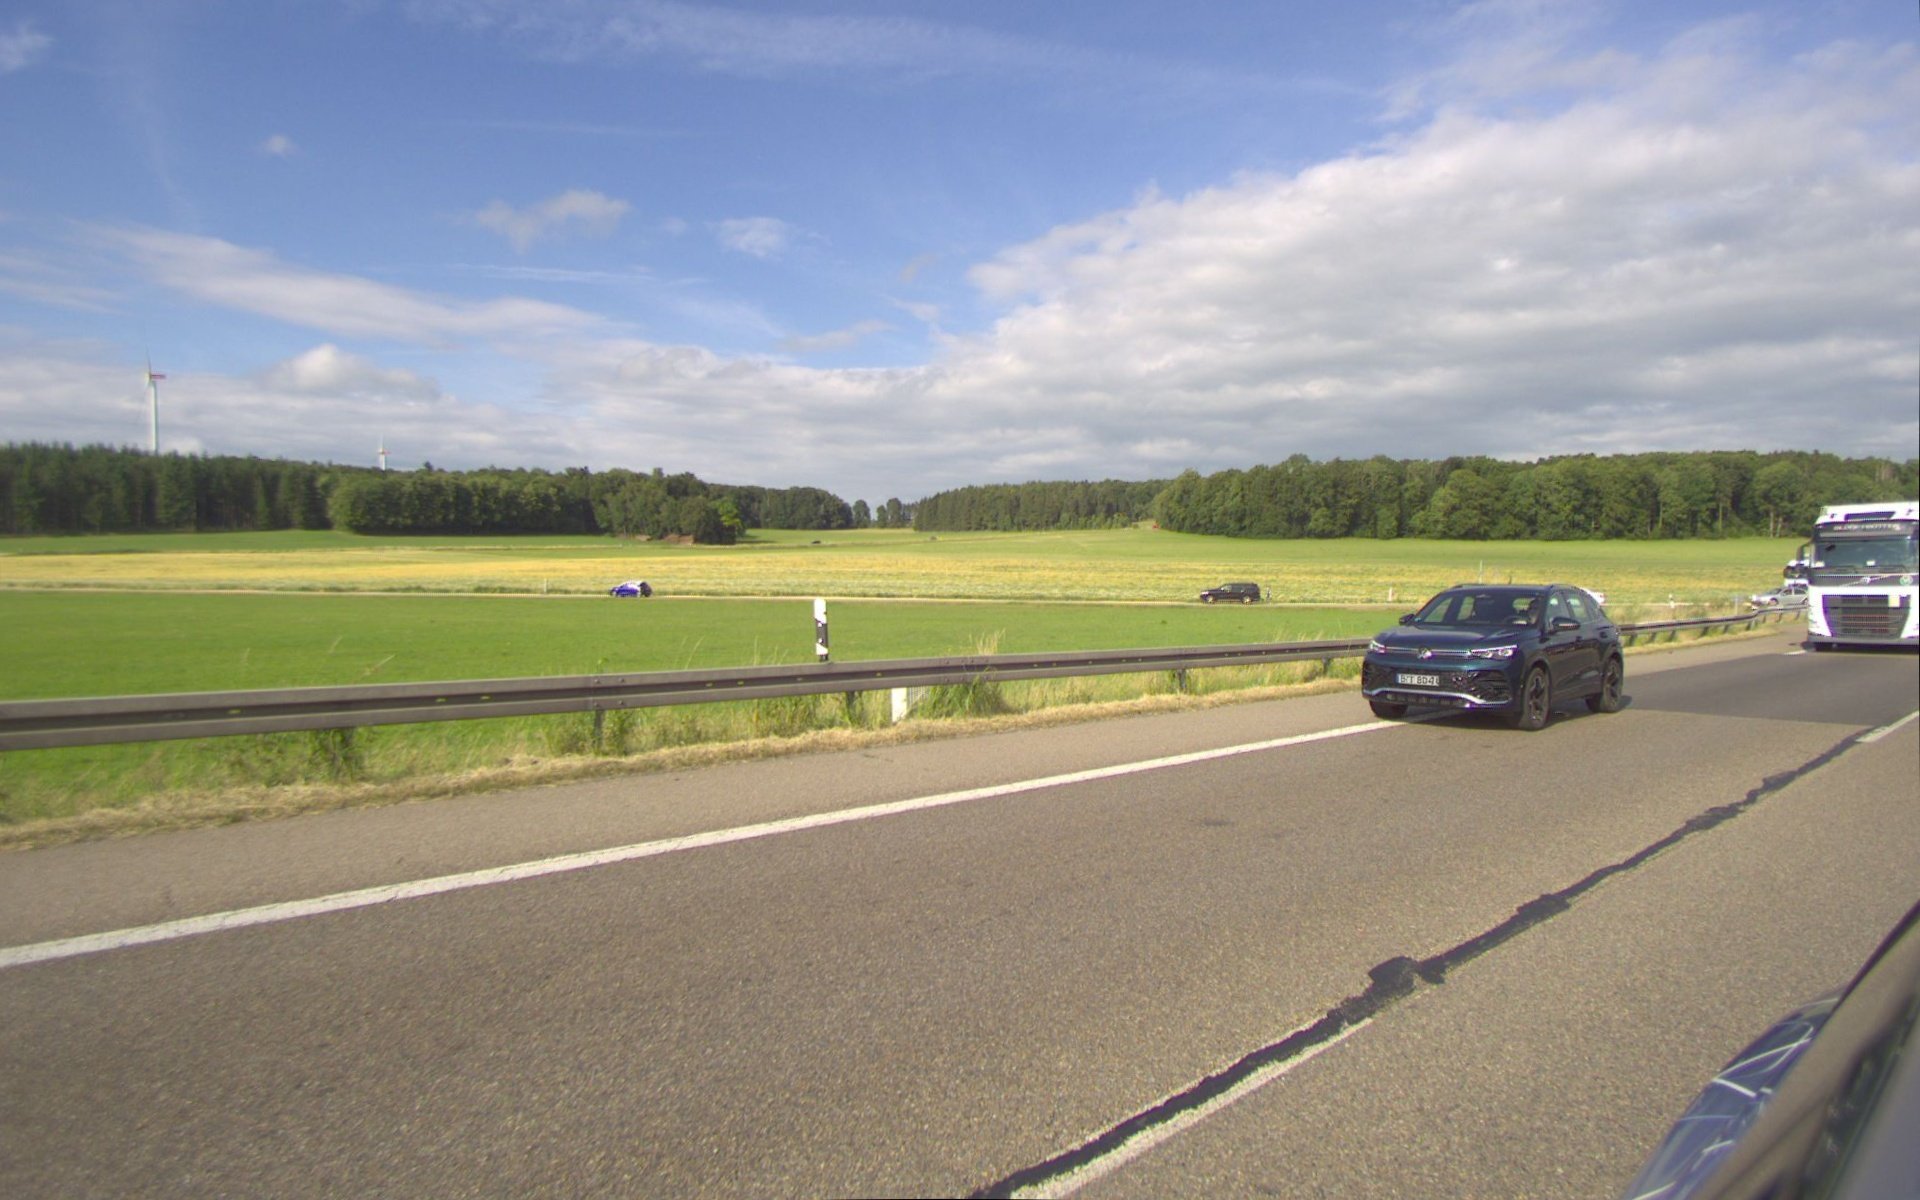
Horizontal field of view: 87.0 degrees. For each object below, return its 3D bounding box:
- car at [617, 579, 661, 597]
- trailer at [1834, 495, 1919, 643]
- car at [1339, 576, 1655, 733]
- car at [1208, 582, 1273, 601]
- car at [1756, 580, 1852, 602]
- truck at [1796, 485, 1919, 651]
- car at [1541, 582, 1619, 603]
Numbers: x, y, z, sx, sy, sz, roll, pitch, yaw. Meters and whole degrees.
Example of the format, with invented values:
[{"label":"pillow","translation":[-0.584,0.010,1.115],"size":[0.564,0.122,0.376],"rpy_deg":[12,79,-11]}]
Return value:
[{"label":"car","translation":[-29.829,-1.119,94.128],"size":[3.507,1.549,1.718],"rpy_deg":[0,0,13]},{"label":"trailer","translation":[30.602,-0.925,31.656],"size":[11.909,4.032,2.826],"rpy_deg":[-1,0,-39]},{"label":"car","translation":[6.692,0.529,12.471],"size":[4.045,1.616,1.998],"rpy_deg":[-1,1,-39]},{"label":"car","translation":[23.350,-0.712,84.453],"size":[5.038,1.576,1.994],"rpy_deg":[0,0,10]},{"label":"car","translation":[62.632,-0.672,75.214],"size":[5.021,1.565,1.985],"rpy_deg":[0,0,23]},{"label":"truck","translation":[25.247,-0.831,27.353],"size":[6.384,4.040,2.842],"rpy_deg":[-1,0,-39]},{"label":"car","translation":[47.563,-0.574,77.786],"size":[5.041,1.565,1.978],"rpy_deg":[0,1,32]}]
